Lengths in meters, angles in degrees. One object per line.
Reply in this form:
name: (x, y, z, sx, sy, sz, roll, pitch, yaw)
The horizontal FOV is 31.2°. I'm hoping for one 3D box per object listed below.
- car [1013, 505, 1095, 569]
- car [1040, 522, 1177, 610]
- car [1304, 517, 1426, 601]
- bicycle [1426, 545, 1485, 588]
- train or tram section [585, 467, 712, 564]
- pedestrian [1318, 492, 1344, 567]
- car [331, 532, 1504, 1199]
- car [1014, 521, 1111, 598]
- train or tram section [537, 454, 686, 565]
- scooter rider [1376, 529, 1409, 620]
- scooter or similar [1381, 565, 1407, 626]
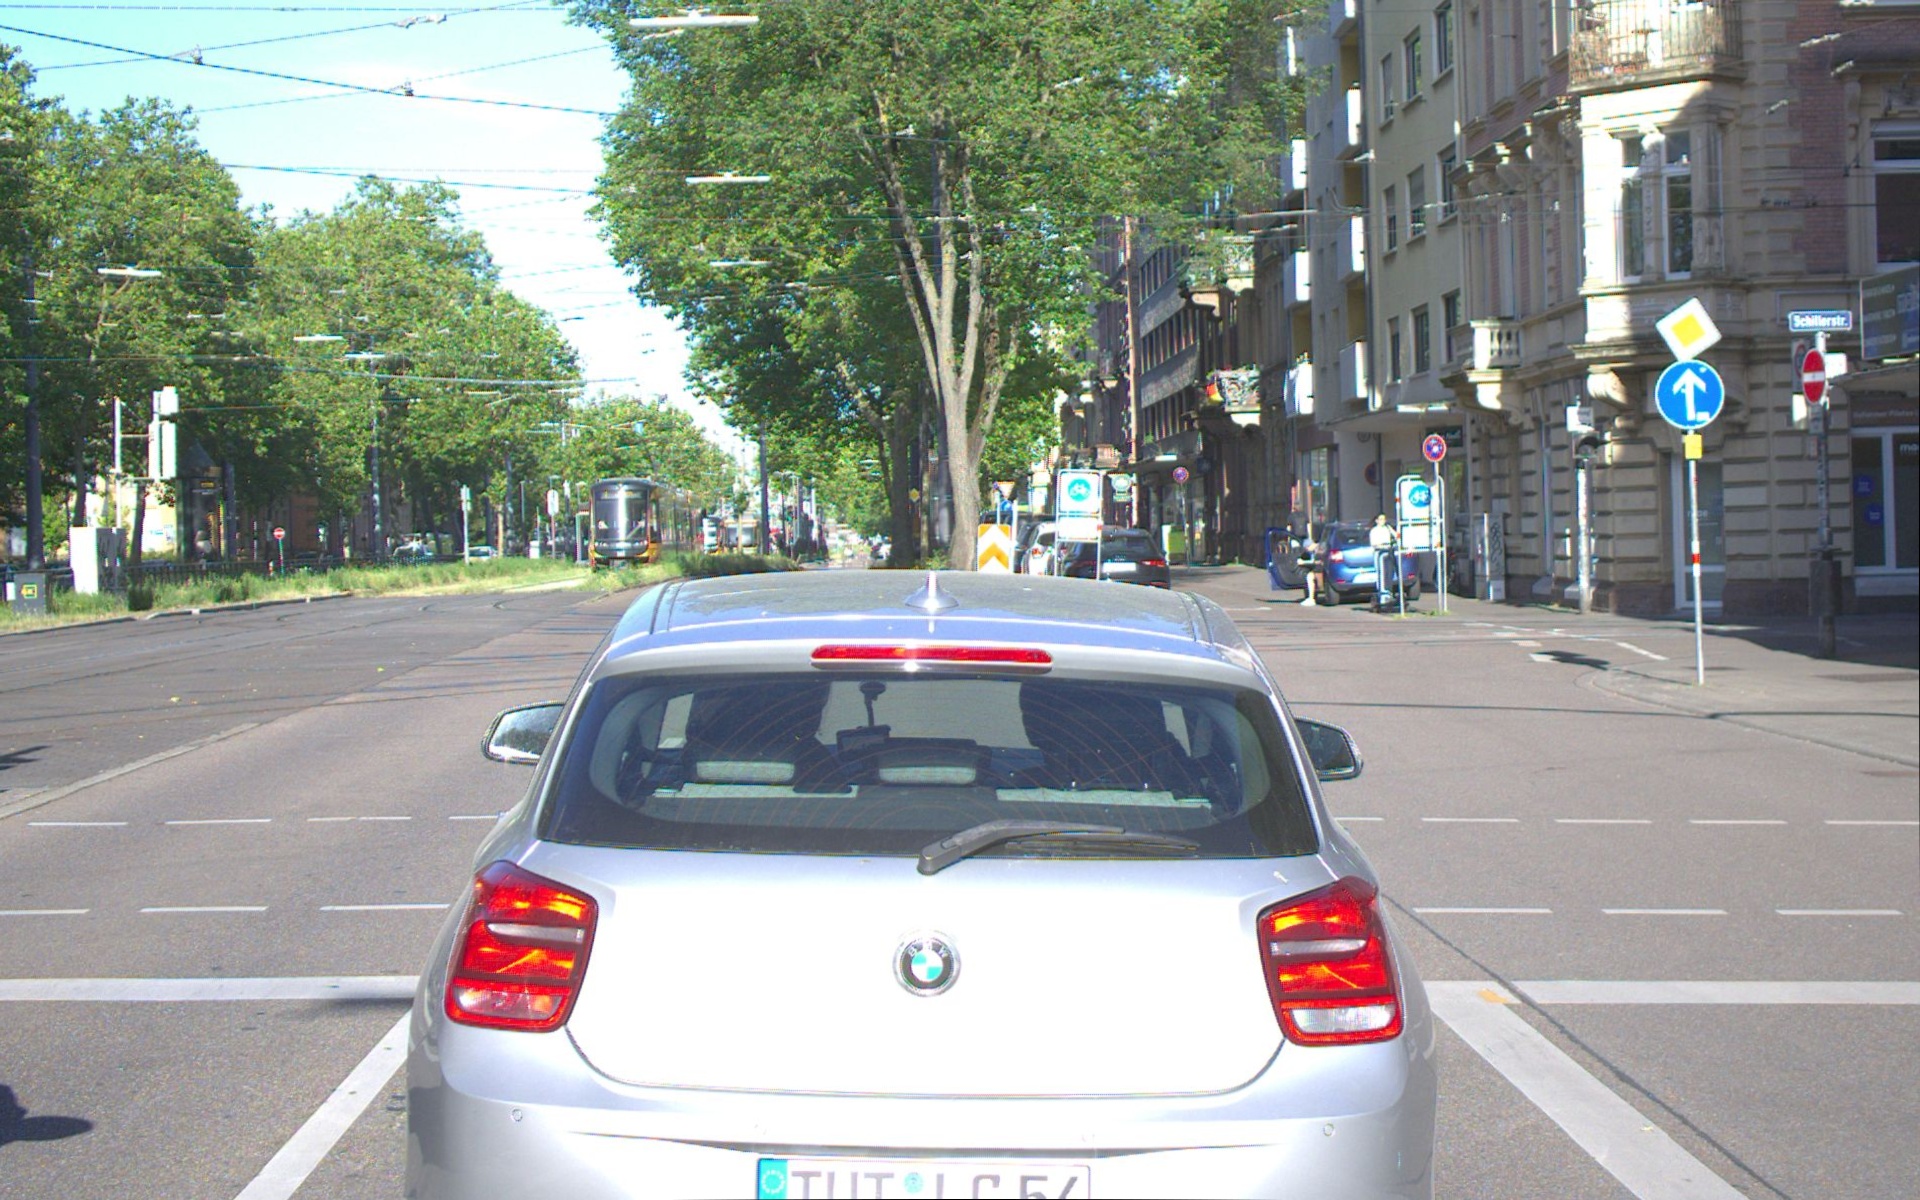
car: (2.213, -1.509, 81.732, 1.724, 1.501, 3.555, 0, 1, -2)
car: (2.459, -0.590, 57.779, 1.735, 1.428, 3.679, 0, 1, -6)
car: (7.461, -0.782, 63.628, 1.735, 1.514, 3.637, 0, 1, -1)
bicycle: (9.211, -0.626, 63.961, 0.754, 0.768, 1.945, -1, 1, -2)
train or tram section: (-13.209, -3.613, 147.559, 4.005, 3.852, 17.490, -1, 1, -1)
pedestrian: (9.045, -1.717, 83.829, 0.505, 1.795, 0.806, -1, 1, -1)
car: (-0.093, 0.608, 7.134, 1.740, 1.462, 4.000, 1, 1, -1)
car: (2.036, -0.841, 69.153, 1.724, 1.501, 3.555, 0, 1, -2)
train or tram section: (-12.998, -3.417, 129.988, 3.969, 3.852, 17.490, -1, 1, -1)
scooter rider: (7.259, -0.428, 57.753, 0.465, 1.500, 0.811, -1, 1, 3)
scooter or similar: (7.287, -0.078, 57.718, 0.337, 0.984, 1.284, -1, 2, 4)
